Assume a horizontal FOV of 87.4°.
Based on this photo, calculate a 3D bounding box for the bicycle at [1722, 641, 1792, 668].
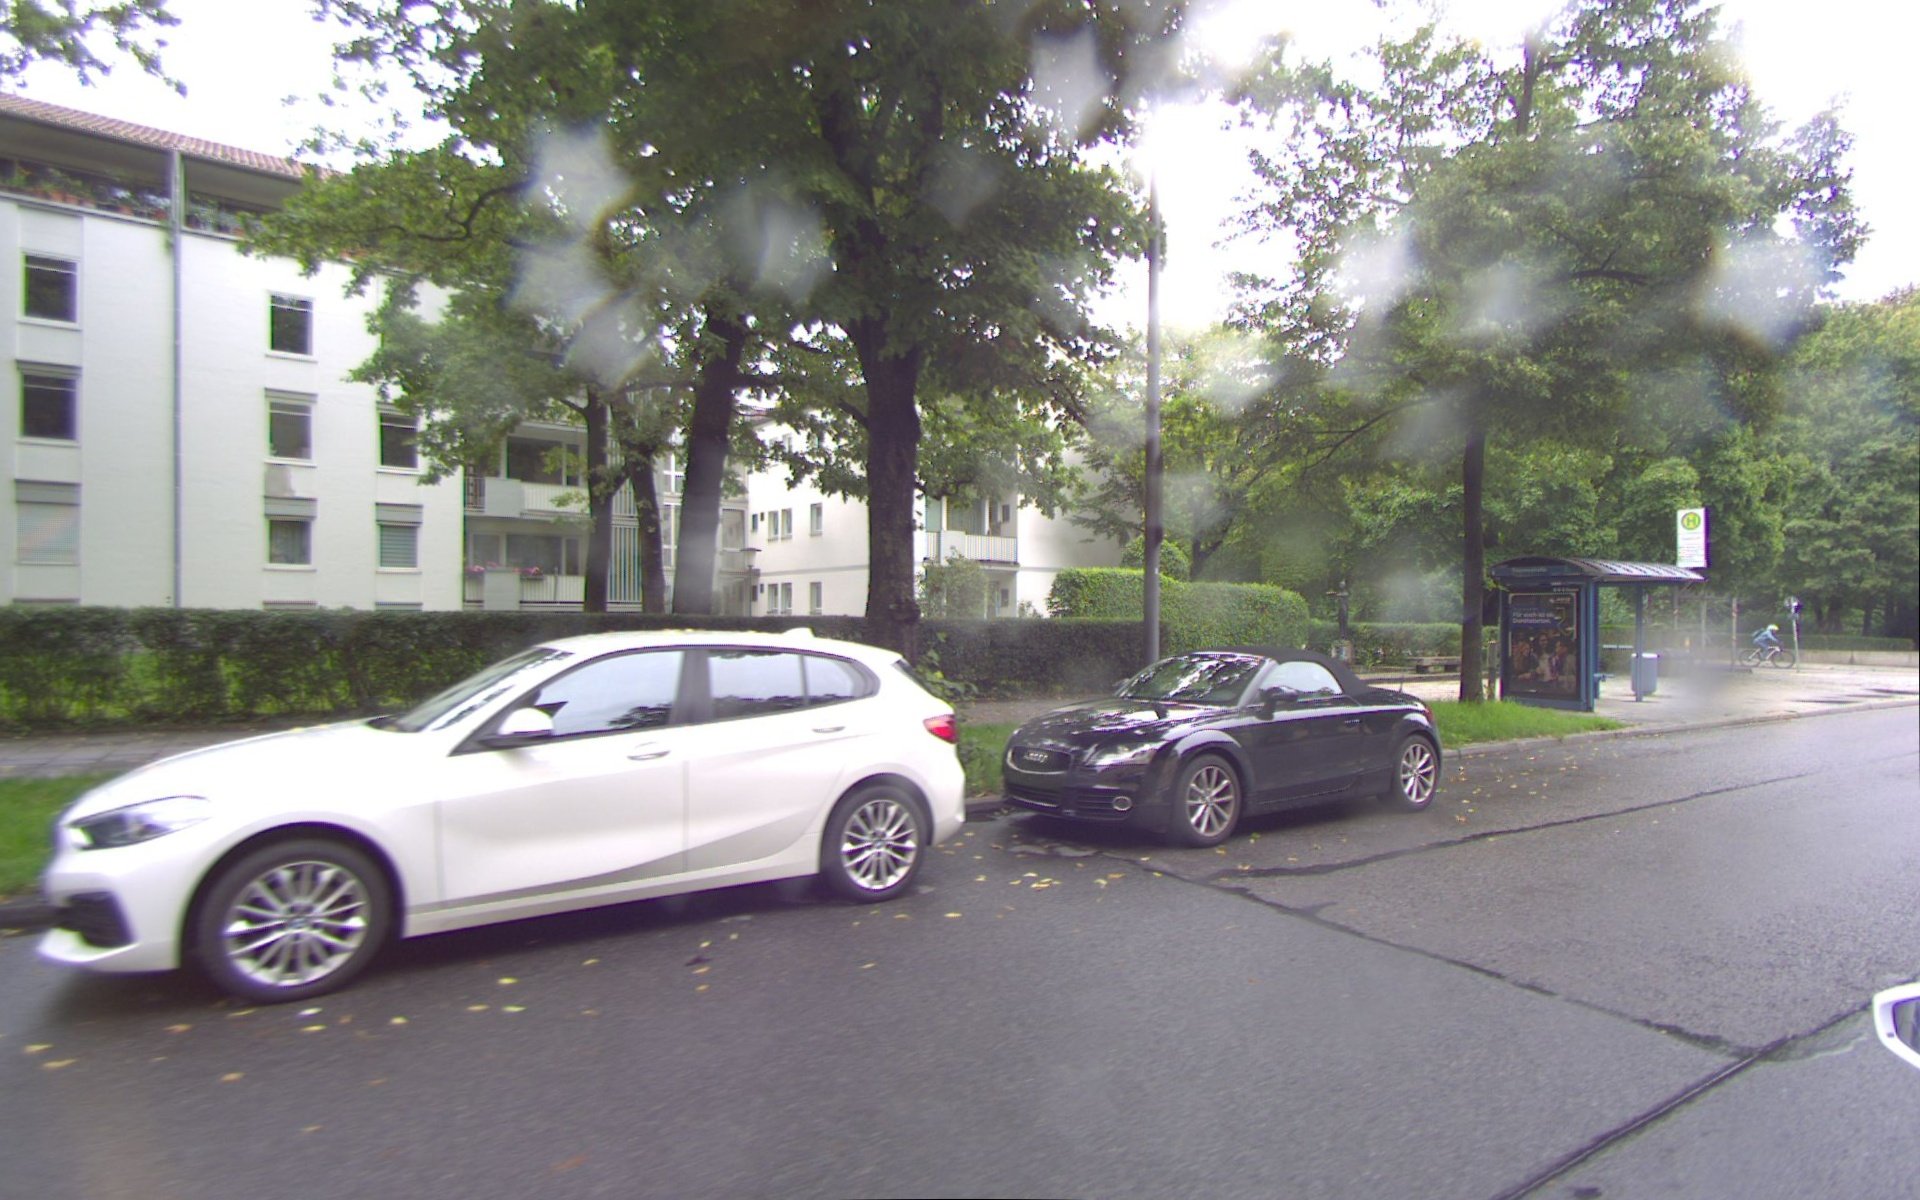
[{"bbox_3d":[31.355,2.148,39.561,2.072,1.004,0.680,0,-2,31],"label":"bicycle"}]

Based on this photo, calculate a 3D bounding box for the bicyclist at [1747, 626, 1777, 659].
[{"bbox_3d":[31.544,1.676,39.507,0.839,1.274,0.524,0,-2,31],"label":"bicyclist"}]

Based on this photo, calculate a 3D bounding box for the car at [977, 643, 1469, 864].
[{"bbox_3d":[2.221,1.038,8.081,4.001,1.360,1.568,2,-2,-33],"label":"car"}]

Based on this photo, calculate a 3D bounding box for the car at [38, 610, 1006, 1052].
[{"bbox_3d":[-1.883,0.857,5.298,4.156,1.517,1.567,2,-2,-35],"label":"car"}]
